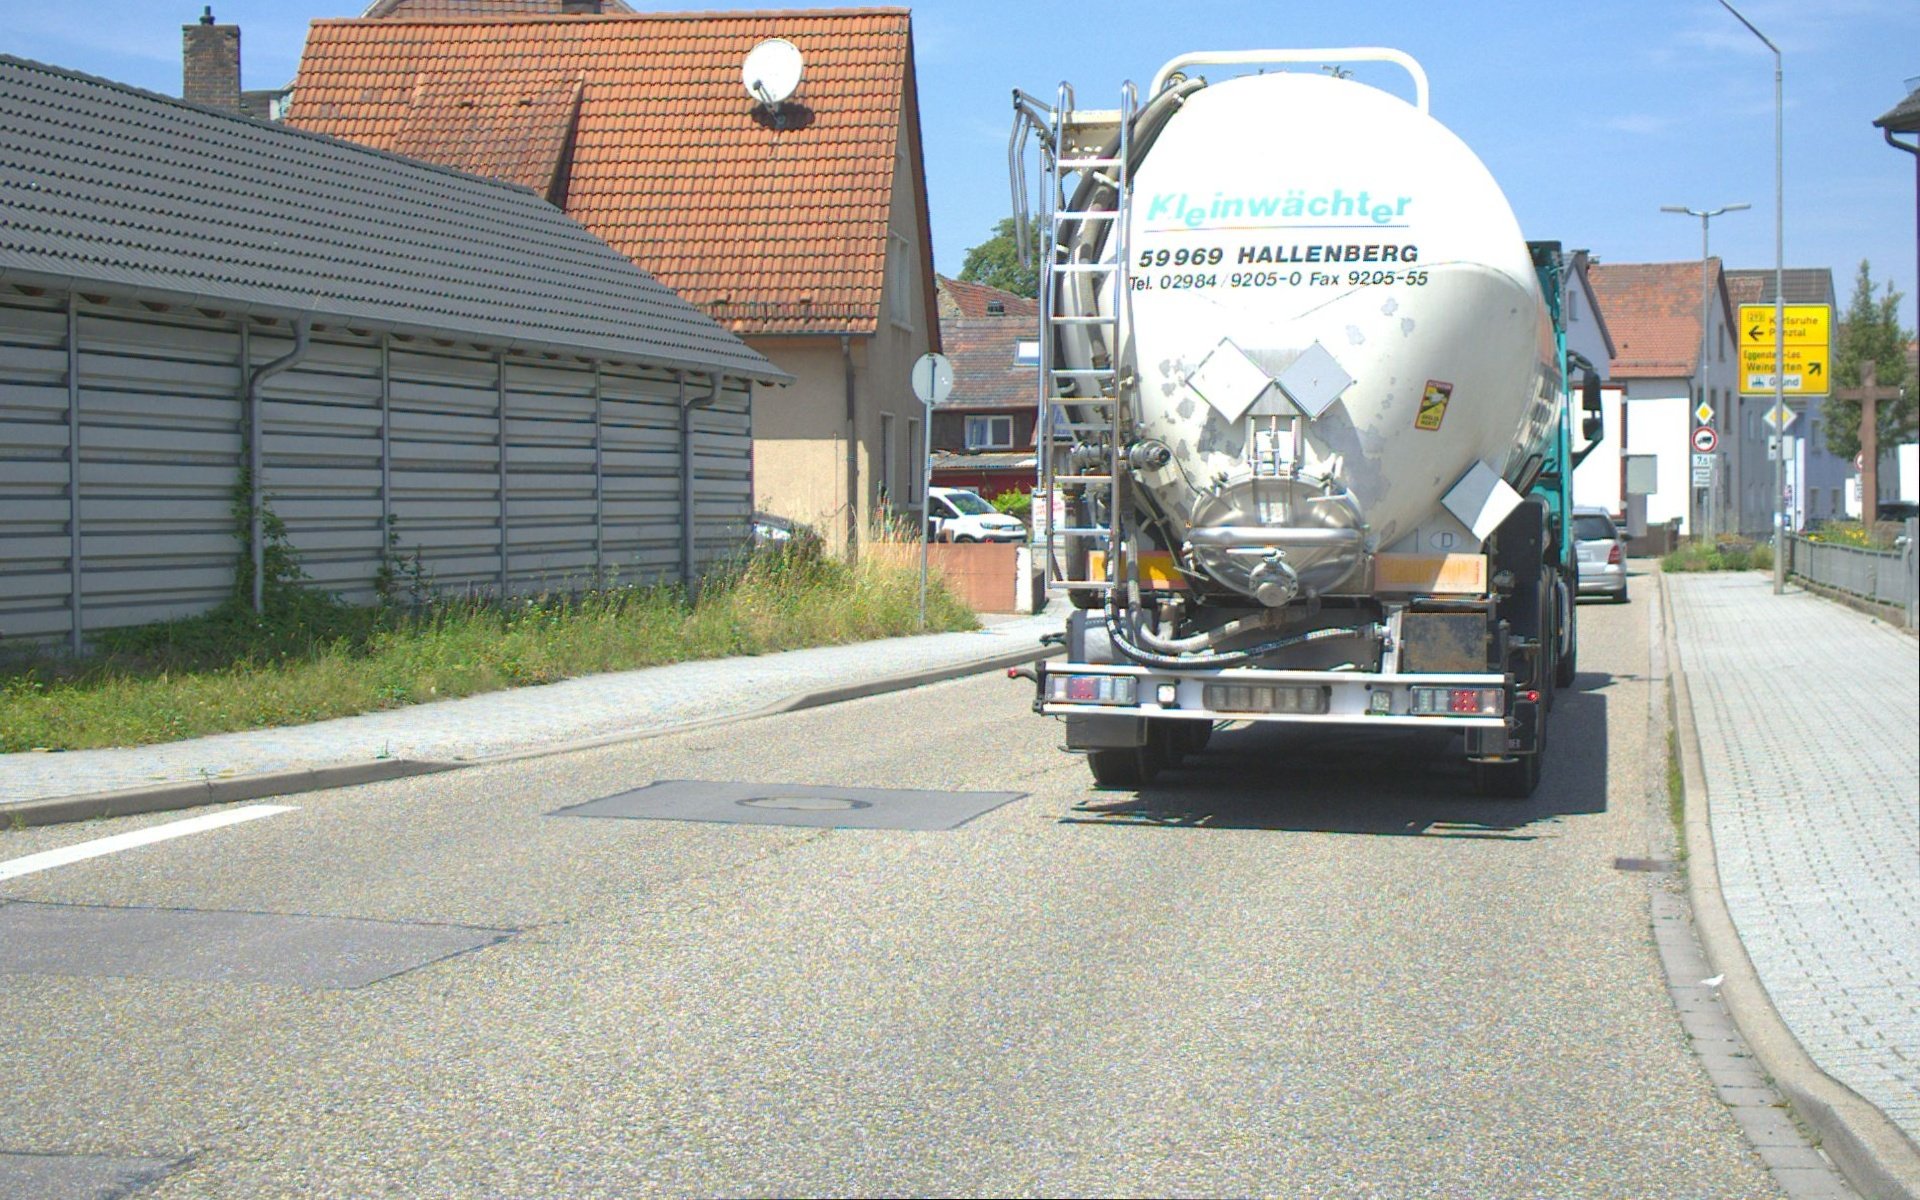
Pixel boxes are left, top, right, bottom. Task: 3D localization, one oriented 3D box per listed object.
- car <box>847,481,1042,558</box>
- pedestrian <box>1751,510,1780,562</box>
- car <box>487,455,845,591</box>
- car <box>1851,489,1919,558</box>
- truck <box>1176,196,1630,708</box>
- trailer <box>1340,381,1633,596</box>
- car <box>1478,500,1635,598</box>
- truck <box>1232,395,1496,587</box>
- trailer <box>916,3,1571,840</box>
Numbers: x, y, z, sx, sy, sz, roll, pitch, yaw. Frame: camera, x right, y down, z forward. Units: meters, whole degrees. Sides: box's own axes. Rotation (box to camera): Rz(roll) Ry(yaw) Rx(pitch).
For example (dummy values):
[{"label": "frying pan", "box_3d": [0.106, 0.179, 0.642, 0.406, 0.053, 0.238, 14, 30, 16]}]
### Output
[{"label": "car", "box_3d": [-0.404, -2.002, 84.652, 4.515, 1.779, 1.876, 2, 3, 33]}, {"label": "pedestrian", "box_3d": [31.598, -2.519, 134.891, 0.770, 2.006, 0.975, 2, 2, 32]}, {"label": "car", "box_3d": [-3.707, -0.973, 43.580, 4.127, 1.632, 1.864, 0, 1, 13]}, {"label": "car", "box_3d": [27.290, -2.202, 99.909, 1.996, 1.905, 4.319, 1, 0, 24]}, {"label": "truck", "box_3d": [3.967, -1.208, 29.648, 2.990, 3.951, 5.574, 1, 1, 17]}, {"label": "trailer", "box_3d": [11.196, -2.342, 74.750, 3.131, 4.262, 12.498, 0, 1, -6]}, {"label": "car", "box_3d": [9.471, -0.821, 54.822, 1.842, 1.481, 4.000, 1, 1, 1]}, {"label": "truck", "box_3d": [9.544, -2.559, 81.703, 3.105, 4.386, 5.935, 0, 1, -33]}, {"label": "trailer", "box_3d": [2.342, -0.960, 22.158, 2.954, 3.934, 11.614, 1, 1, 11]}]
